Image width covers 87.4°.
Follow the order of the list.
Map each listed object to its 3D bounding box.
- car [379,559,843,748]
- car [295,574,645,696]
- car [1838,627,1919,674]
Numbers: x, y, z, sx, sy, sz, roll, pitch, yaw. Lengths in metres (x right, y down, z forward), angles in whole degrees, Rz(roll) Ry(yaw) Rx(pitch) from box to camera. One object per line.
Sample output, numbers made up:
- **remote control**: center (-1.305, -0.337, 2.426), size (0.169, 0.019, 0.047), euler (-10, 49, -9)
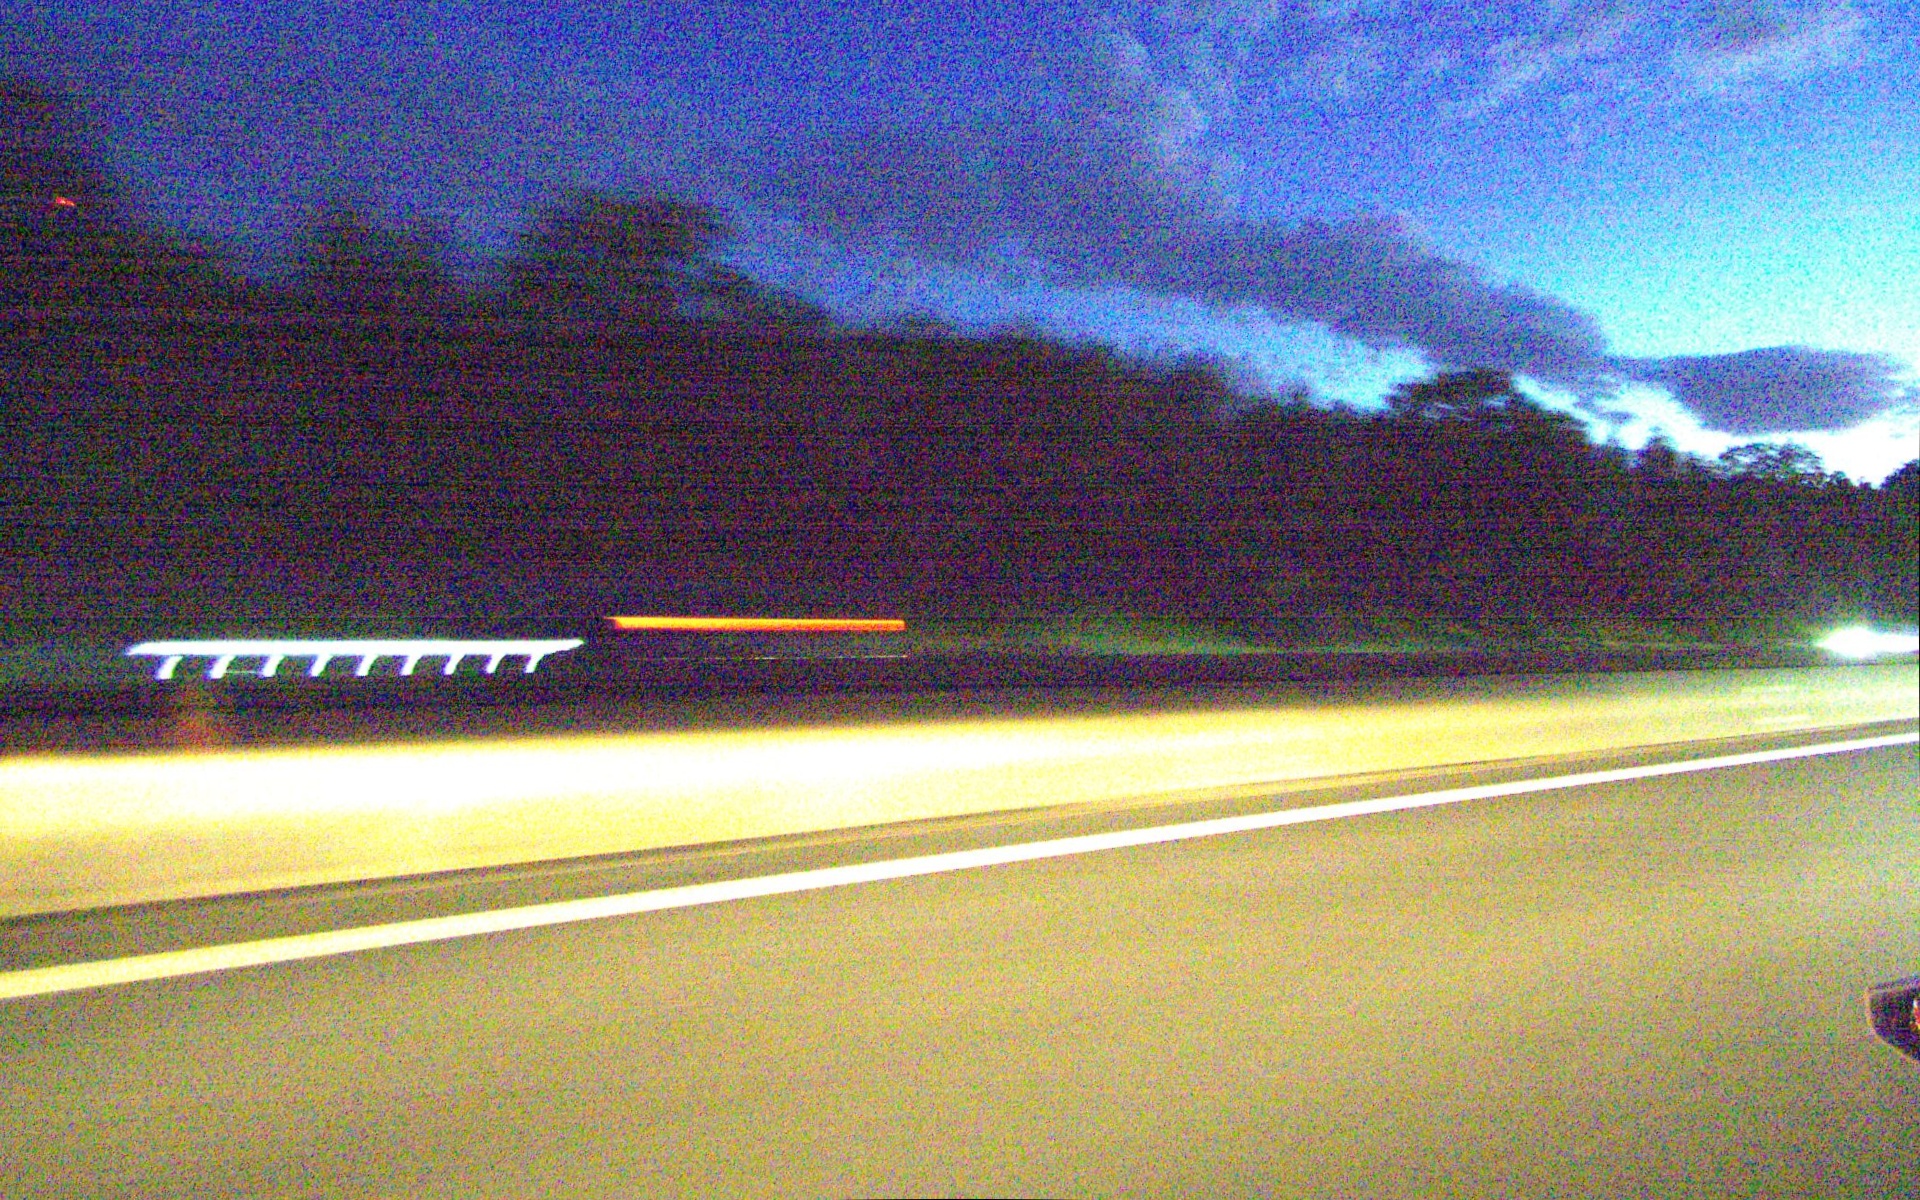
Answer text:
- **car**: center (-3.719, 0.532, 10.950), size (4.429, 1.692, 2.001), euler (2, -1, -29)
- **car**: center (-6.805, 0.473, 14.152), size (4.161, 1.487, 1.999), euler (2, 0, -32)
- **car**: center (37.029, 1.968, 39.694), size (4.889, 1.692, 2.001), euler (2, 0, -29)
